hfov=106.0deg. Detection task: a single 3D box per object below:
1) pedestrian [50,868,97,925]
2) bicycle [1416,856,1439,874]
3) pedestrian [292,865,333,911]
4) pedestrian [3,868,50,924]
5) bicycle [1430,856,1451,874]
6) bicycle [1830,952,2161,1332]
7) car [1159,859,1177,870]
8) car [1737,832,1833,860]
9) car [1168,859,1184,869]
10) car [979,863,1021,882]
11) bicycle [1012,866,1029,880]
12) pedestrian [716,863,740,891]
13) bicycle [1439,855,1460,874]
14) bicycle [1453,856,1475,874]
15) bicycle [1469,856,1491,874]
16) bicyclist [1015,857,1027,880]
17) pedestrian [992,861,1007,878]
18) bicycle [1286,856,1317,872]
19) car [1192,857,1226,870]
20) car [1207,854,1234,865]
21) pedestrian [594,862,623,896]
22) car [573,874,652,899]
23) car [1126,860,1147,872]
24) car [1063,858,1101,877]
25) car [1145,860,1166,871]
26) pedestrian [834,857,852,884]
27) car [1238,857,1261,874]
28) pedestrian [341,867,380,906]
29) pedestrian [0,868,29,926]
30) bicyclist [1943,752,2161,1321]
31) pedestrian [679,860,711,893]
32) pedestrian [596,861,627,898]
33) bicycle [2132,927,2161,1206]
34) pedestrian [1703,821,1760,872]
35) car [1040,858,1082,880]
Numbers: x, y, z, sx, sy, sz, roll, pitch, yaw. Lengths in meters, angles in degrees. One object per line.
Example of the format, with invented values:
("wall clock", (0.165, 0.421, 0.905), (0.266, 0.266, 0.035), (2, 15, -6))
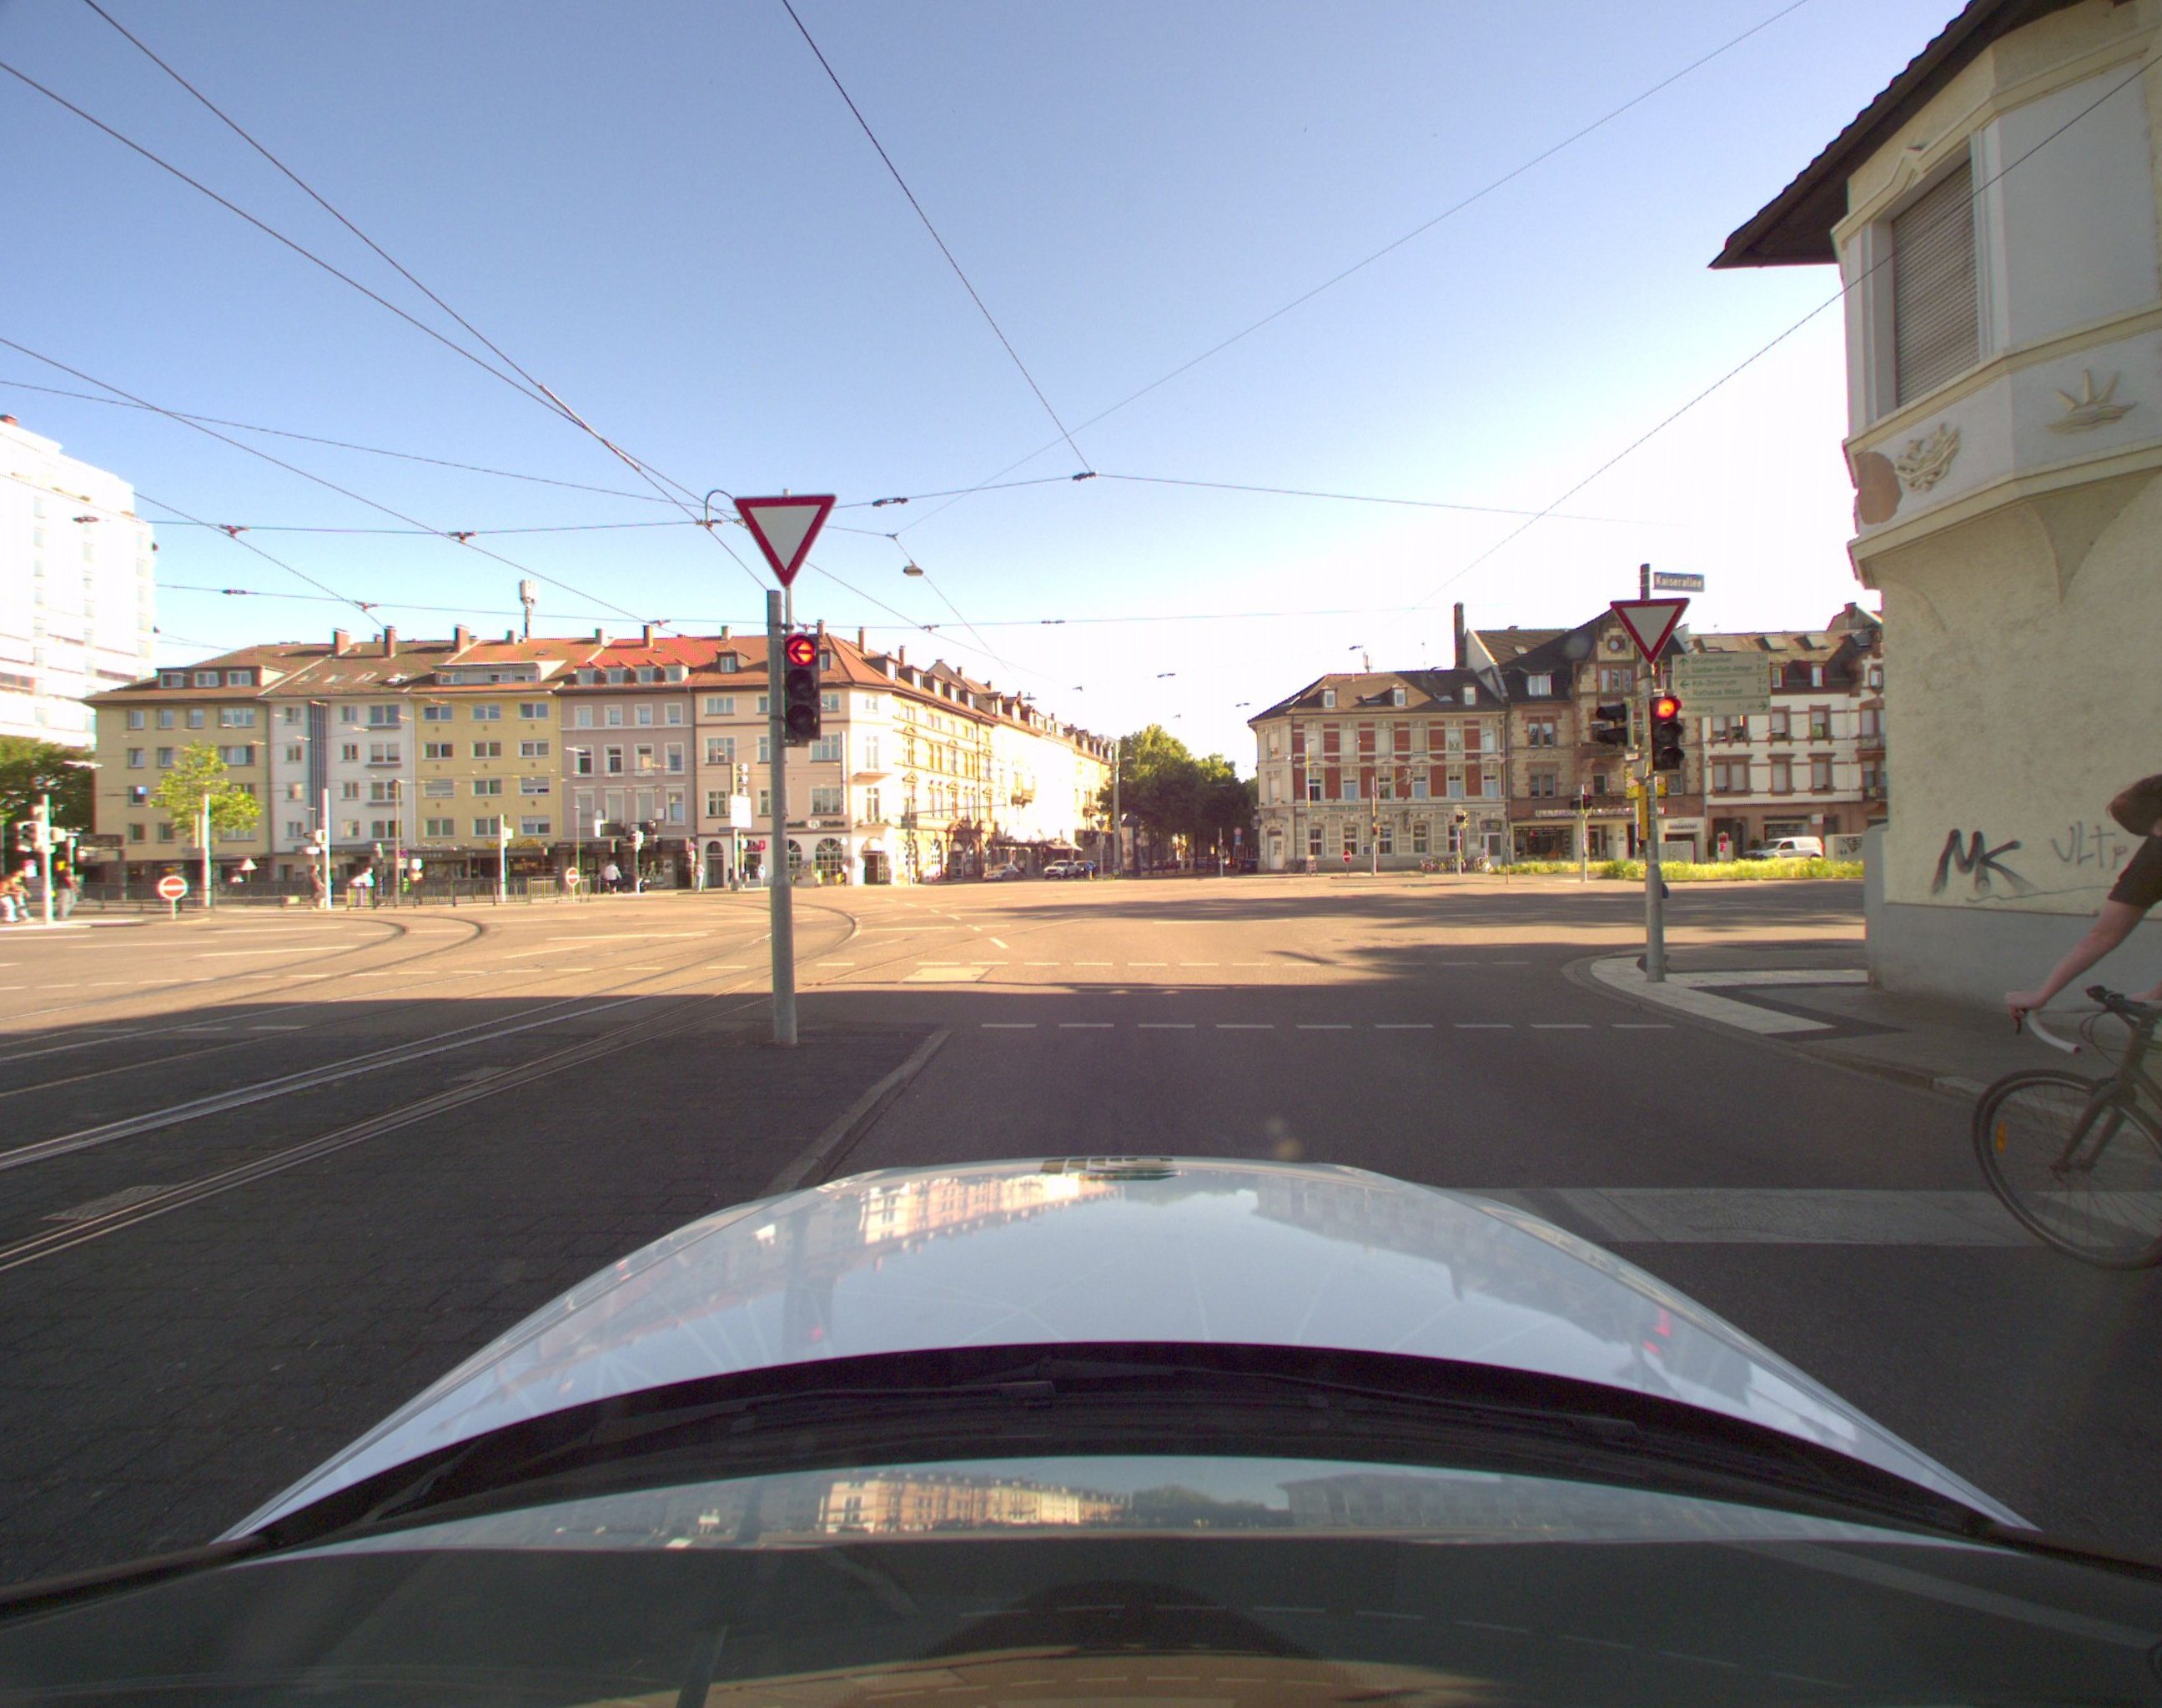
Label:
("pedestrian", (-32.474, 1.346, 26.258), (0.794, 1.771, 0.671), (-1, -1, -39))
("bicycle", (22.505, 0.697, 52.976), (0.802, 1.143, 2.178), (-2, 0, 7))
("pedestrian", (-28.717, 1.249, 30.448), (0.817, 1.655, 0.957), (-2, -1, 36))
("pedestrian", (-34.362, 1.363, 26.549), (0.794, 1.771, 0.671), (-1, -1, -39))
("bicycle", (23.283, 0.688, 52.827), (0.615, 1.143, 2.178), (-2, 0, 7))
("bicycle", (3.618, 0.946, 2.660), (0.642, 1.010, 1.930), (-2, 0, 4))
("car", (13.920, 1.697, 130.322), (1.822, 1.552, 4.412), (-2, 0, 19))
("car", (45.363, -0.485, 52.544), (4.317, 1.640, 2.152), (-2, 0, 1))
("car", (15.838, 1.716, 136.157), (1.750, 1.549, 4.411), (-2, 0, 18))
("car", (-6.677, 1.519, 67.371), (1.883, 1.455, 4.020), (-2, 0, 20))
("bicycle", (-4.811, 1.509, 65.285), (0.675, 1.066, 2.133), (-2, 0, 14))
("pedestrian", (-22.999, 1.503, 53.093), (0.998, 1.775, 0.945), (-2, 0, 16))
("bicycle", (23.863, 0.668, 52.774), (0.615, 1.143, 2.178), (-2, 0, 7))
("bicycle", (24.783, 0.707, 52.679), (0.615, 1.143, 2.178), (-2, 0, 7))
("bicycle", (25.760, 0.686, 52.589), (0.606, 1.136, 2.139), (-2, 0, 7))
("bicyclist", (-4.807, 1.129, 65.329), (0.674, 1.820, 1.075), (-2, 0, 14))
("pedestrian", (-7.547, 1.418, 75.352), (0.921, 1.535, 1.142), (-2, 0, 16))
("bicycle", (15.505, 0.720, 57.179), (2.081, 1.124, 0.366), (0, -1, -3))
("car", (18.123, 1.331, 115.124), (4.335, 1.612, 2.012), (-2, 0, 28))
("car", (22.838, 0.966, 133.292), (3.948, 1.706, 2.013), (-2, 0, 32))
("pedestrian", (-24.702, 1.296, 42.606), (0.935, 1.756, 0.935), (-2, 0, 1))
("car", (-30.615, 2.140, 53.326), (3.974, 1.453, 2.000), (-1, 0, -1))
("car", (7.540, 1.665, 110.970), (1.978, 1.486, 4.017), (-1, 0, 16))
("car", (0.123, 1.215, 74.005), (1.977, 1.612, 4.413), (-2, 0, 20))
("car", (11.262, 1.728, 122.590), (1.977, 1.612, 4.413), (-2, 0, 20))
("pedestrian", (-15.878, 1.119, 54.278), (1.047, 1.744, 0.805), (-1, 0, -14))
("car", (17.021, 1.137, 82.205), (1.978, 1.585, 4.017), (-2, 0, 16))
("pedestrian", (-27.726, 1.251, 31.334), (0.814, 1.454, 0.937), (-2, 0, 34))
("pedestrian", (-33.981, 1.353, 25.682), (0.794, 1.771, 0.865), (-1, -1, -39))
("bicyclist", (3.603, 0.559, 2.583), (0.559, 1.754, 1.102), (-2, 0, 4))
("pedestrian", (-20.123, 1.151, 42.454), (1.076, 1.685, 1.104), (-2, 0, 1))
("pedestrian", (-23.184, 1.262, 40.223), (0.935, 1.756, 0.935), (-2, 0, 1))
("bicycle", (4.538, 0.855, 2.435), (0.516, 1.116, 1.815), (-2, 0, 4))
("pedestrian", (27.118, -0.310, 33.989), (1.314, 2.044, 1.307), (-2, 0, 1))
("car", (-1.602, 1.248, 67.528), (1.977, 1.684, 4.413), (-2, 0, 20))
